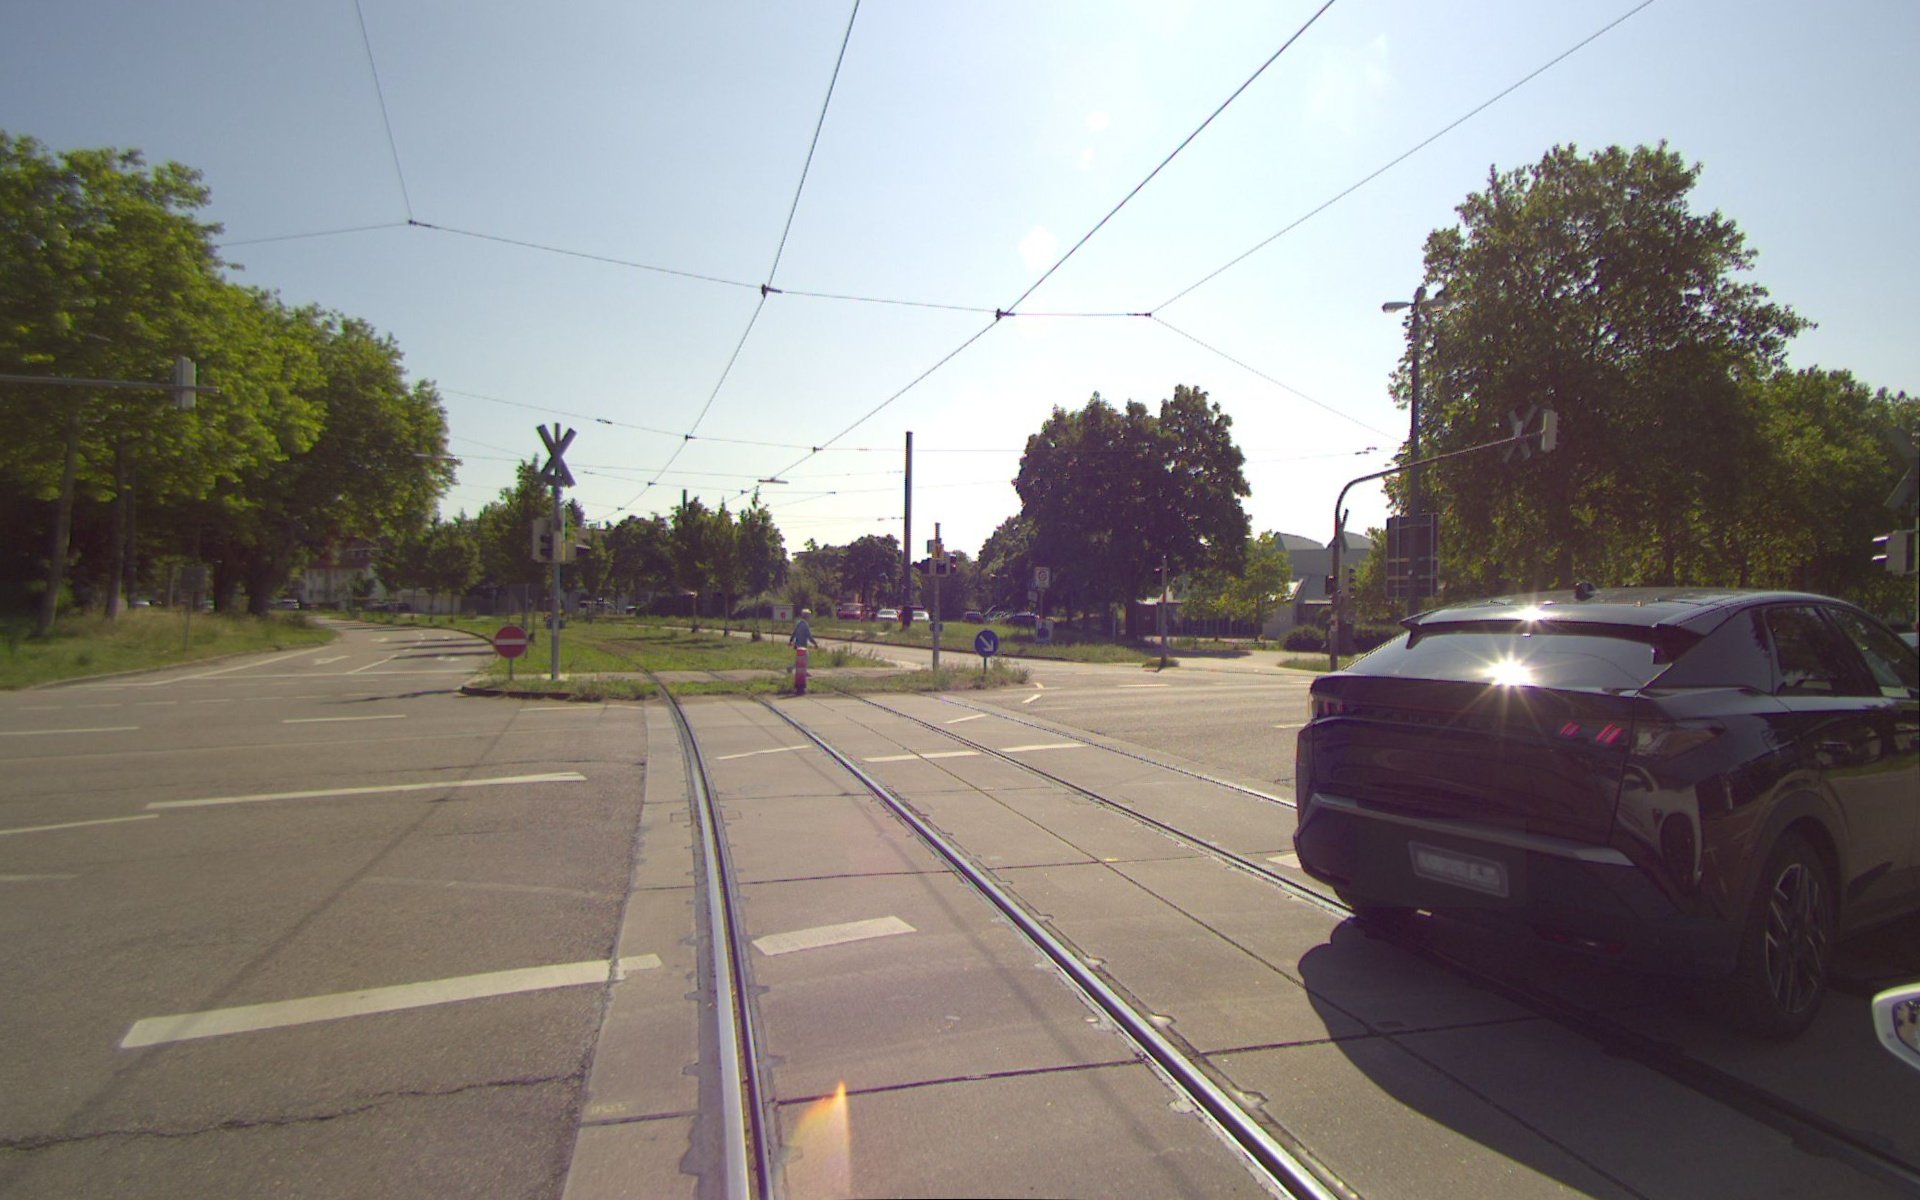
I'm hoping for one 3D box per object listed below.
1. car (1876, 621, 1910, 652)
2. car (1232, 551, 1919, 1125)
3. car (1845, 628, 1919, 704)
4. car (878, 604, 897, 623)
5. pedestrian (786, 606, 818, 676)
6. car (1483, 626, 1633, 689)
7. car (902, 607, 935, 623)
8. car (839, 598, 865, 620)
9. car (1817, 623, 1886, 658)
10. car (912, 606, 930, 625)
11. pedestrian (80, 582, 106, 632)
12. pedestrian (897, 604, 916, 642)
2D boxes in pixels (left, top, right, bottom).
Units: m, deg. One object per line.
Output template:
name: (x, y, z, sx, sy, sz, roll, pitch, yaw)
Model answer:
car: (82.922, 3.219, 89.211, 2.039, 2.648, 7.173, -1, -2, 44)
car: (3.589, 0.720, 4.966, 4.386, 1.719, 1.862, 0, 0, -32)
car: (21.537, 1.408, 22.155, 4.077, 1.528, 1.687, 1, 0, -28)
car: (-5.795, 1.082, 80.489, 1.322, 1.466, 3.340, 1, 0, -2)
pedestrian: (-3.588, 0.924, 22.796, 0.658, 1.582, 0.365, 1, 0, -18)
car: (16.379, 1.514, 27.458, 4.611, 1.528, 1.684, 1, 0, -33)
car: (-4.916, 1.773, 118.835, 3.855, 1.863, 1.768, 1, 0, -7)
car: (-8.648, 0.724, 80.782, 1.780, 1.725, 3.986, 1, 0, -2)
car: (43.337, 1.926, 48.783, 4.392, 1.610, 1.696, 1, -2, -37)
car: (-3.111, 1.242, 80.656, 1.420, 1.466, 3.340, 1, 0, -2)
pedestrian: (-36.882, 0.305, 42.752, 0.747, 2.119, 0.613, 1, 0, -35)
pedestrian: (-2.914, 1.242, 54.550, 0.784, 2.040, 0.708, 0, 0, 43)
